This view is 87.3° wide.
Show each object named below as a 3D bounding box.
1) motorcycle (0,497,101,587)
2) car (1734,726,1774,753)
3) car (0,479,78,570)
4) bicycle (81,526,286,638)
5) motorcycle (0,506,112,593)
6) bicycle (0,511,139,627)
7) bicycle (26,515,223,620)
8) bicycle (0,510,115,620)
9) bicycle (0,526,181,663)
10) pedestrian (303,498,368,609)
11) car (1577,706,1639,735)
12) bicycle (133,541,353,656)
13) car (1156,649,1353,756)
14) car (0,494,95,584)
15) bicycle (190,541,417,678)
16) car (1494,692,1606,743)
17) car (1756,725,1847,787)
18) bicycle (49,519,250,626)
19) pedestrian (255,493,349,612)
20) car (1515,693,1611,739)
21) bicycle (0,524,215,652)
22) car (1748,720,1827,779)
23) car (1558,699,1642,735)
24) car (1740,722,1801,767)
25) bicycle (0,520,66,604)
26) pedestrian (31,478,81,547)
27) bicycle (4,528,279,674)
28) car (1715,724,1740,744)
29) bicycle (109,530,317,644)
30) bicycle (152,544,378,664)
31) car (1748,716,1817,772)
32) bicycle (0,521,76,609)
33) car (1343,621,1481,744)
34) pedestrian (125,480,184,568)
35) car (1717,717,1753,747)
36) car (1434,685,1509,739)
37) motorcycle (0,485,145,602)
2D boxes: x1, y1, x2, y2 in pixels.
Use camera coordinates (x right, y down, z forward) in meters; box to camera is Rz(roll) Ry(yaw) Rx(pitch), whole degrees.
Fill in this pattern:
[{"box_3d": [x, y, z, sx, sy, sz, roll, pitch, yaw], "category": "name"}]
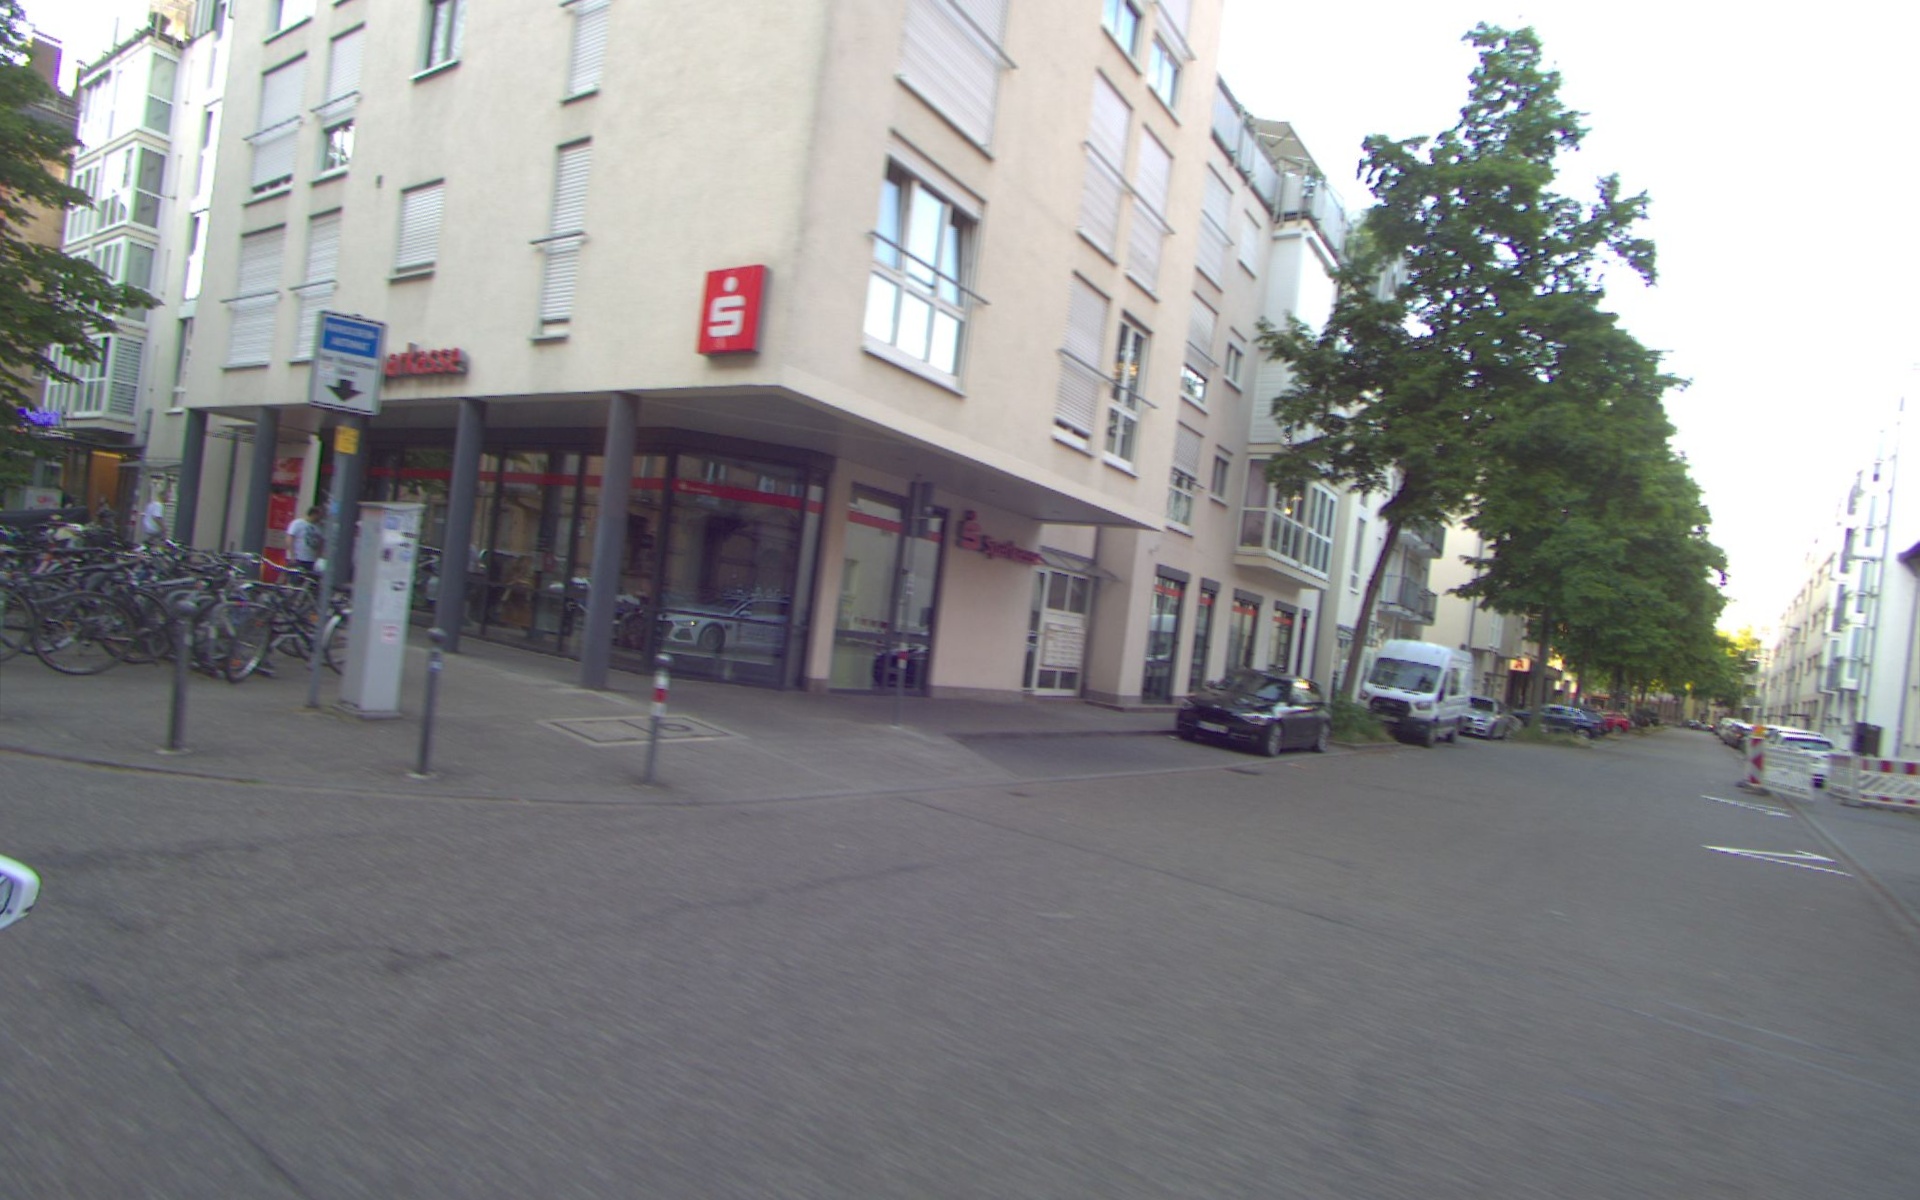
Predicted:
[{"box_3d": [-15.800, -0.989, 16.800, 0.705, 1.387, 2.058, 7, 2, 31], "category": "motorcycle"}, {"box_3d": [43.776, 7.677, 55.502, 1.523, 1.212, 3.505, 5, -2, 37], "category": "car"}, {"box_3d": [-19.852, -1.639, 19.041, 1.718, 1.669, 4.398, 7, 1, 34], "category": "car"}, {"box_3d": [-8.876, -0.182, 11.561, 0.644, 1.132, 1.720, 6, 1, 38], "category": "bicycle"}, {"box_3d": [-15.037, -0.830, 16.123, 0.706, 1.260, 2.056, 7, 2, 36], "category": "motorcycle"}, {"box_3d": [-10.202, -0.347, 11.031, 1.781, 1.198, 0.724, 2, 3, -45], "category": "bicycle"}, {"box_3d": [-10.353, -0.375, 12.528, 0.643, 1.132, 1.723, 6, 1, 32], "category": "bicycle"}, {"box_3d": [-10.916, -0.416, 11.452, 0.732, 1.198, 1.865, 6, 3, 39], "category": "bicycle"}, {"box_3d": [-8.133, -0.046, 8.944, 0.695, 1.132, 1.723, 6, 1, 33], "category": "bicycle"}, {"box_3d": [-10.481, -0.782, 16.898, 0.655, 1.745, 0.659, 7, 2, -21], "category": "pedestrian"}, {"box_3d": [51.476, 9.552, 80.008, 3.935, 1.703, 1.943, 5, -2, 32], "category": "car"}, {"box_3d": [-7.496, 0.015, 10.587, 0.644, 1.067, 1.720, 6, 1, 38], "category": "bicycle"}, {"box_3d": [5.476, 1.863, 18.383, 1.766, 1.451, 4.229, 10, 2, 40], "category": "car"}, {"box_3d": [-17.898, -1.213, 17.137, 1.749, 1.474, 4.428, 7, 1, 29], "category": "car"}, {"box_3d": [-6.171, 0.103, 9.567, 0.568, 1.146, 1.726, 6, 1, 23], "category": "bicycle"}, {"box_3d": [26.584, 5.270, 45.477, 3.926, 1.703, 1.948, 6, -2, 21], "category": "car"}, {"box_3d": [24.624, 4.536, 29.562, 1.784, 1.436, 4.119, 5, -2, 38], "category": "car"}, {"box_3d": [-9.746, -0.303, 12.164, 0.643, 1.132, 1.723, 6, 1, 32], "category": "bicycle"}, {"box_3d": [-10.471, -0.747, 16.039, 0.898, 1.746, 0.774, 7, 3, -9], "category": "pedestrian"}, {"box_3d": [30.330, 5.807, 50.678, 3.935, 1.703, 1.943, 5, -2, 32], "category": "car"}, {"box_3d": [-8.487, -0.097, 9.794, 0.695, 1.132, 1.809, 6, 1, 33], "category": "bicycle"}, {"box_3d": [28.069, 5.044, 34.218, 1.848, 1.614, 3.740, 5, -2, 38], "category": "car"}, {"box_3d": [40.348, 7.350, 63.500, 3.924, 1.703, 1.949, 6, -2, 16], "category": "car"}, {"box_3d": [34.030, 6.045, 42.307, 1.802, 1.570, 3.782, 5, -2, 38], "category": "car"}, {"box_3d": [-12.479, -0.511, 12.642, 0.556, 1.036, 1.769, 6, 3, 37], "category": "bicycle"}, {"box_3d": [-23.983, -2.320, 26.696, 0.948, 1.739, 0.727, 6, 2, 35], "category": "pedestrian"}, {"box_3d": [-7.157, 0.040, 8.871, 0.696, 1.132, 1.720, 6, 1, 38], "category": "bicycle"}, {"box_3d": [66.252, 11.572, 86.837, 1.567, 1.489, 3.585, 5, -2, 37], "category": "car"}, {"box_3d": [-8.361, -0.115, 11.327, 0.644, 1.132, 1.720, 6, 1, 38], "category": "bicycle"}, {"box_3d": [-6.978, 0.071, 10.178, 0.644, 1.067, 1.720, 6, 1, 38], "category": "bicycle"}, {"box_3d": [31.160, 5.440, 38.147, 1.819, 1.757, 3.732, 5, -2, 40], "category": "car"}, {"box_3d": [-11.996, -0.457, 12.273, 0.657, 1.045, 1.716, 6, 3, 37], "category": "bicycle"}, {"box_3d": [12.767, 2.367, 28.103, 2.042, 2.766, 6.769, 9, 0, 34], "category": "car"}, {"box_3d": [-17.210, -1.616, 21.507, 0.577, 1.774, 0.627, 6, -1, 23], "category": "pedestrian"}, {"box_3d": [47.572, 8.115, 61.796, 1.567, 1.558, 3.585, 5, -2, 37], "category": "car"}, {"box_3d": [18.172, 3.968, 35.662, 1.740, 1.559, 4.090, 5, -2, 35], "category": "car"}, {"box_3d": [-13.613, -0.848, 14.688, 0.811, 1.569, 2.489, 6, 1, 37], "category": "motorcycle"}]
